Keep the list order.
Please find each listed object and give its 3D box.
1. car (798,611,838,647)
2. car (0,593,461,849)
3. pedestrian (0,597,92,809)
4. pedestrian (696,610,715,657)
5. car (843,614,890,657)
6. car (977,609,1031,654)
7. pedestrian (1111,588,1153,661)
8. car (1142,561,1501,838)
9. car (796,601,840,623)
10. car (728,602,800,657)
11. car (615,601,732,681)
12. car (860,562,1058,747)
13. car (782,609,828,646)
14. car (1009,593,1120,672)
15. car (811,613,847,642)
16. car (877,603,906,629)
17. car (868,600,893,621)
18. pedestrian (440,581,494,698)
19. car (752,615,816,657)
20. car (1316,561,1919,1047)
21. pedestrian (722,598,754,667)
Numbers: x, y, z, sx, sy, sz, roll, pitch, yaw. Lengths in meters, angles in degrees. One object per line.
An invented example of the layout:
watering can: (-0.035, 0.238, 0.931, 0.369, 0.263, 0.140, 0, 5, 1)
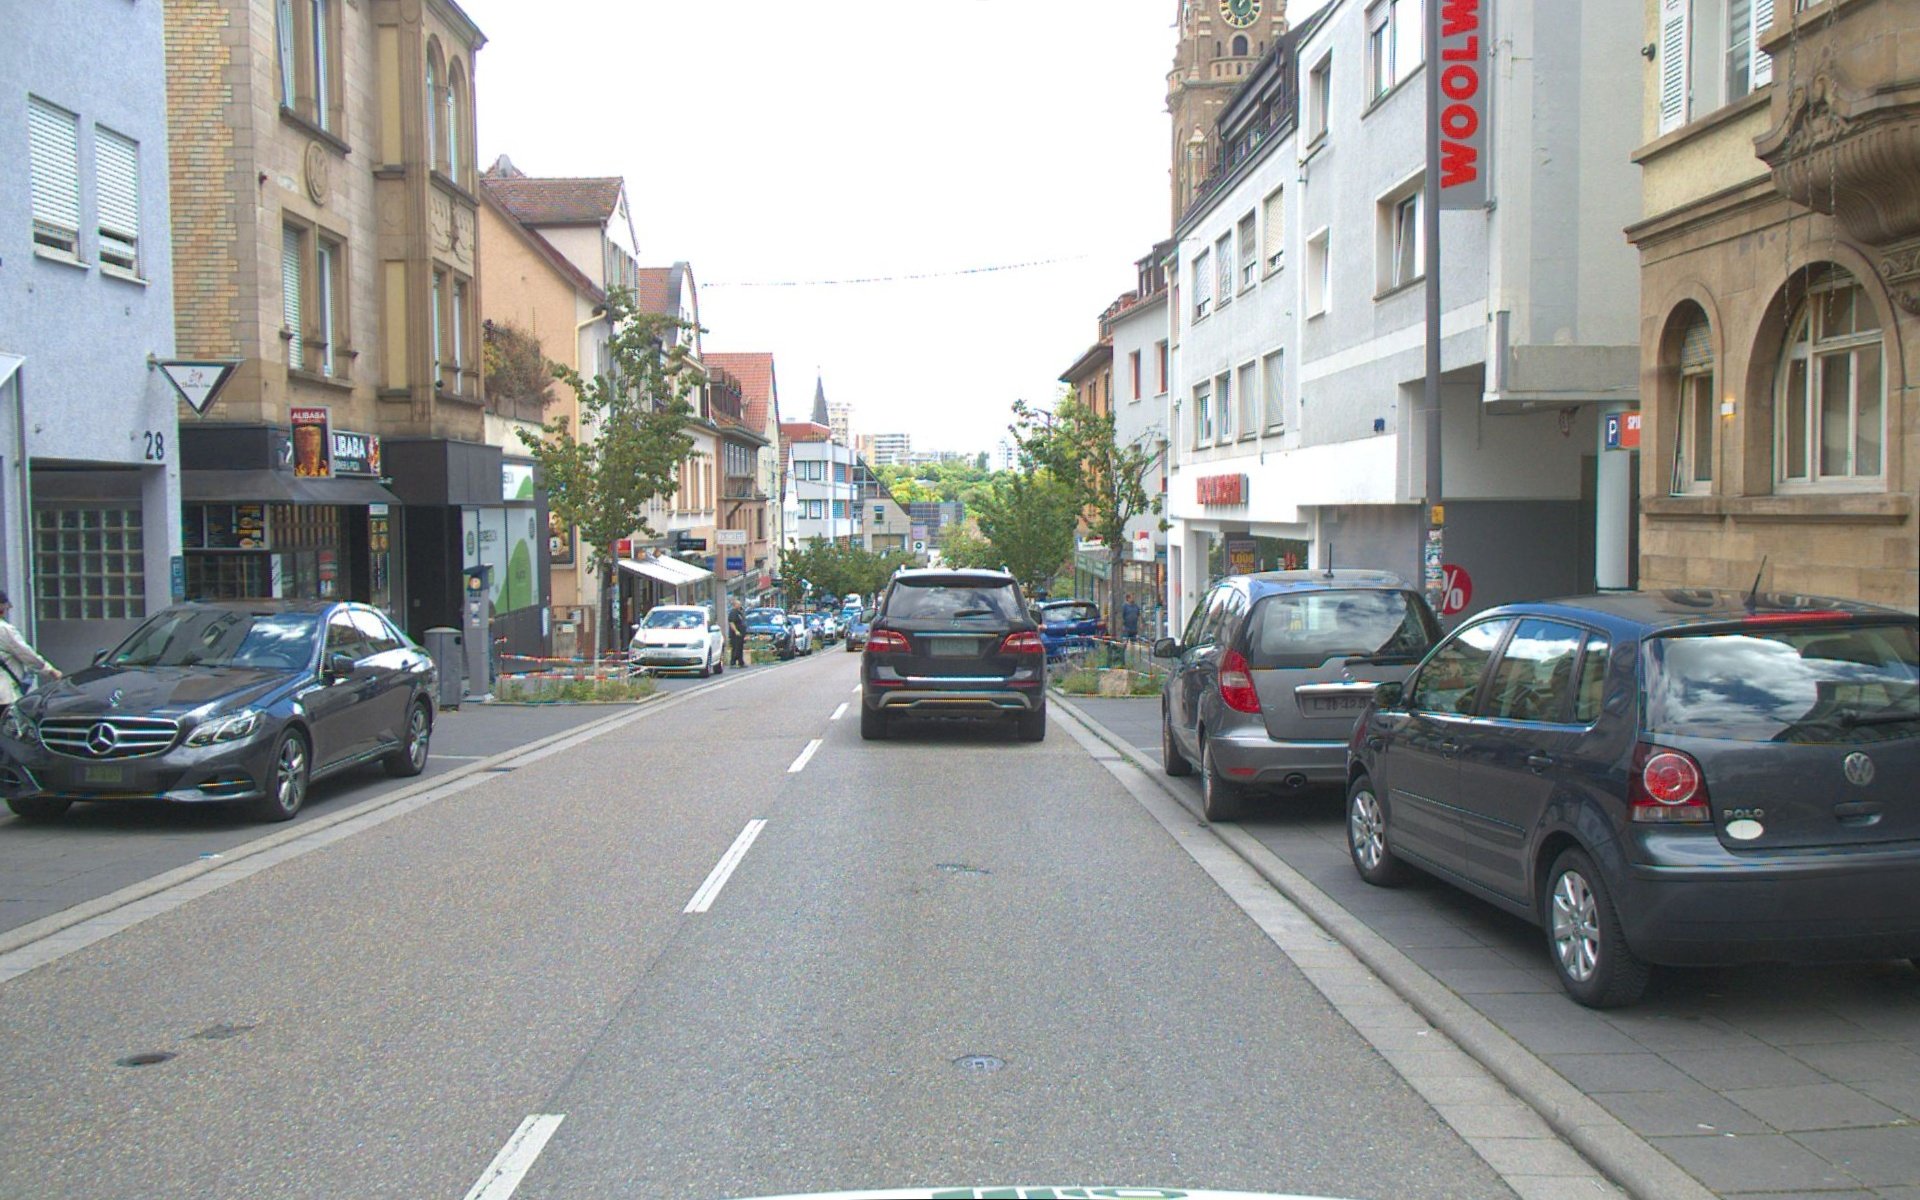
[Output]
car: (-6.949, 1.410, 81.217, 1.889, 1.623, 4.454, 2, 0, -4)
car: (-5.405, 0.739, 12.575, 1.888, 1.518, 4.840, 2, 0, -2)
pedestrian: (-7.005, 0.729, 12.134, 0.809, 1.489, 0.809, 2, -1, -2)
pedestrian: (-8.765, 1.152, 56.963, 0.536, 1.603, 0.862, -1, 0, -2)
car: (-3.864, 1.442, 68.163, 1.783, 1.646, 4.132, -2, -1, -4)
car: (1.632, 1.154, 62.664, 1.713, 1.491, 4.073, -4, 0, -2)
pedestrian: (3.814, 0.536, 36.686, 0.741, 1.588, 0.817, -2, 0, -4)
car: (2.432, 0.602, 12.080, 1.713, 1.636, 3.800, -2, 0, -1)
car: (-12.773, 1.100, 148.815, 3.910, 1.780, 1.998, -3, -1, -5)
car: (-6.189, 0.936, 52.538, 1.888, 1.650, 4.637, 1, -1, -2)
car: (-6.027, 0.819, 35.275, 1.888, 1.538, 4.260, 1, 0, -2)
car: (-0.041, 0.509, 18.022, 1.904, 1.770, 4.178, 0, 0, -1)
car: (-6.898, 1.199, 73.924, 1.888, 1.523, 4.258, -1, 0, -4)
car: (2.197, 0.713, 35.607, 1.715, 1.524, 3.795, -3, -1, -6)
car: (-7.701, 1.602, 97.627, 1.888, 1.523, 4.260, 2, 0, -2)
car: (-4.845, 1.122, 116.939, 1.952, 1.748, 4.445, -1, 0, -2)
car: (-6.631, 0.870, 138.659, 1.887, 1.657, 4.261, 2, 0, -1)
pedestrian: (-7.510, 0.598, 25.213, 0.575, 1.743, 0.710, 1, 0, -2)
car: (-6.354, 1.280, 60.211, 1.887, 1.455, 4.261, 0, 0, 0)
car: (2.986, 0.643, 7.341, 1.714, 1.535, 3.871, -2, 0, -4)
pedestrian: (-5.590, 0.809, 41.692, 0.723, 1.701, 0.862, 0, 0, -4)
